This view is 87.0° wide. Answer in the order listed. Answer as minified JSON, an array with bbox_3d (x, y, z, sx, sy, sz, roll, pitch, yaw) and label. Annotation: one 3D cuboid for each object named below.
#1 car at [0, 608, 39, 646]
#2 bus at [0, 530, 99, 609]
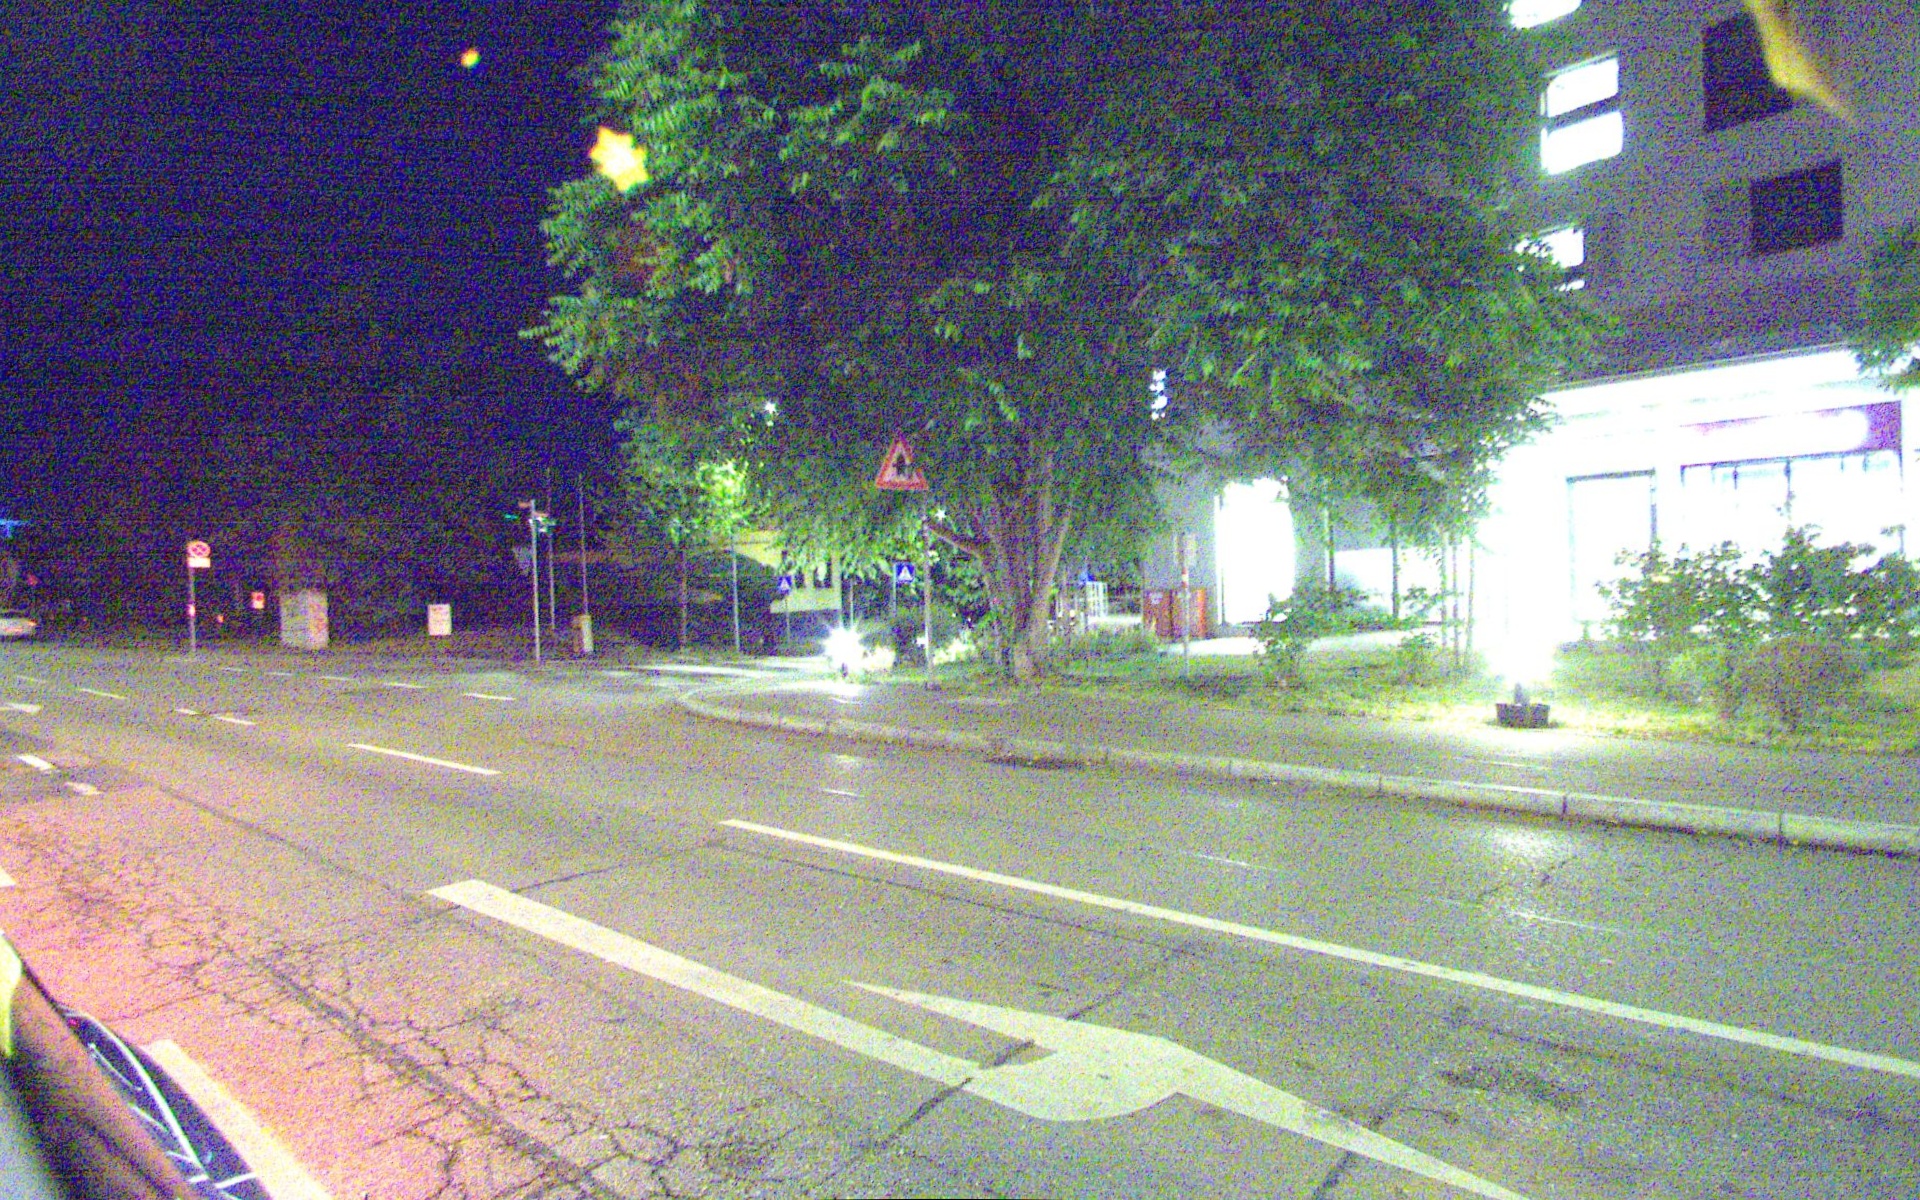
[{"bbox_3d":[-43.159,1.206,45.686,3.996,1.604,1.784,-1,0,39],"label":"car"},{"bbox_3d":[-88.518,-2.714,97.787,14.776,6.990,6.056,-1,0,41],"label":"bus"}]
